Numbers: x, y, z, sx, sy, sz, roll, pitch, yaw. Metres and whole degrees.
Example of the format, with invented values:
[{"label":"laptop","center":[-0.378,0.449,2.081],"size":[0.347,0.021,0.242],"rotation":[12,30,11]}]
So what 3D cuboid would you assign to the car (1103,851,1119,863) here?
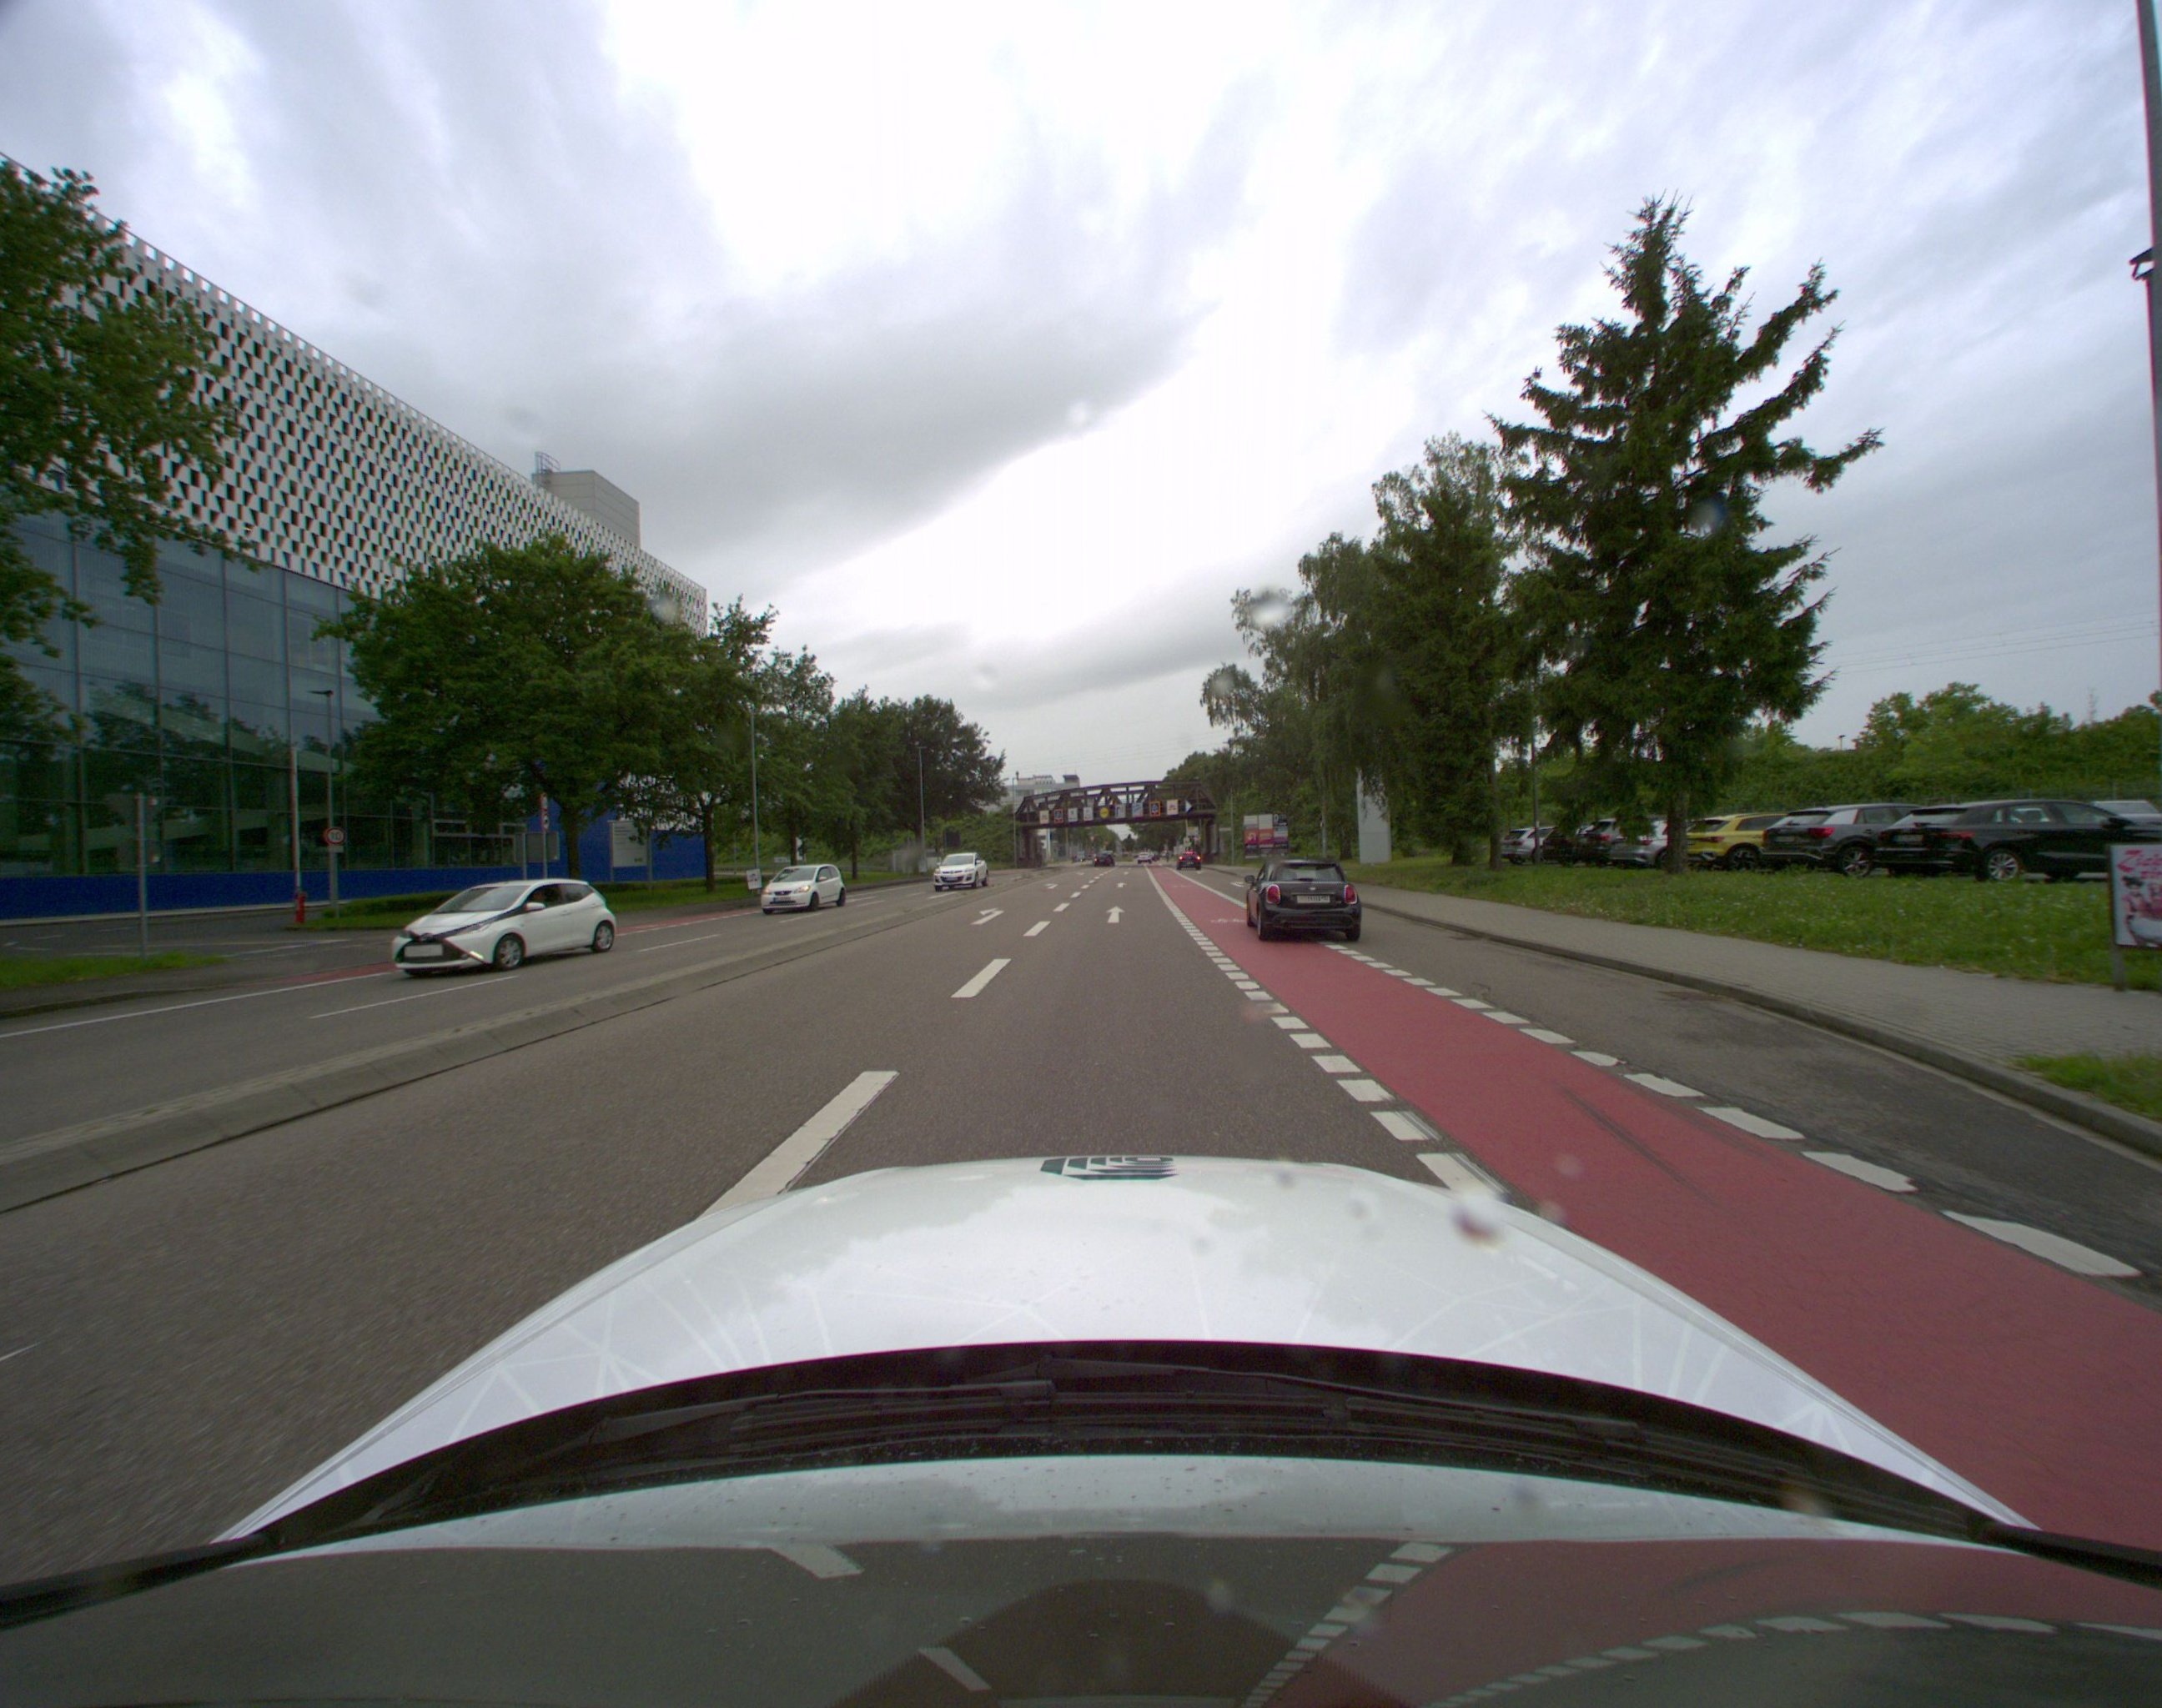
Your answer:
[{"label":"car","center":[3.954,0.329,108.542],"size":[1.955,1.527,5.010],"rotation":[-1,0,0]}]

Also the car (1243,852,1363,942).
[{"label":"car","center":[3.995,0.703,15.179],"size":[1.670,1.431,3.782],"rotation":[-1,0,8]}]

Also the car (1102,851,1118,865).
[{"label":"car","center":[3.533,0.497,99.241],"size":[1.767,1.652,3.670],"rotation":[-1,0,1]}]

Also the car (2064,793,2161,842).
[{"label":"car","center":[39.088,-1.328,30.530],"size":[1.944,1.652,4.339],"rotation":[1,0,38]}]

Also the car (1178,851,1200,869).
[{"label":"car","center":[8.289,0.455,62.813],"size":[1.639,1.281,3.426],"rotation":[-1,0,7]}]

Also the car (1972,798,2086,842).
[{"label":"car","center":[37.426,-1.283,32.304],"size":[1.880,1.566,4.705],"rotation":[1,0,36]}]

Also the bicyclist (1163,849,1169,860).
[{"label":"bicyclist","center":[12.763,0.111,122.543],"size":[0.813,1.630,1.236],"rotation":[-2,0,3]}]

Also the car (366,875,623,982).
[{"label":"car","center":[-9.848,1.170,14.068],"size":[1.617,1.423,3.614],"rotation":[-3,0,3]}]

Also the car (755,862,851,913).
[{"label":"car","center":[-8.954,1.041,26.529],"size":[1.669,1.428,3.654],"rotation":[-2,0,3]}]

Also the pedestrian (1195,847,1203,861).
[{"label":"pedestrian","center":[13.649,-0.018,94.238],"size":[0.737,1.640,0.781],"rotation":[-2,0,11]}]

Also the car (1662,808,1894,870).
[{"label":"car","center":[16.711,-0.366,19.701],"size":[3.975,1.379,1.813],"rotation":[1,0,5]}]

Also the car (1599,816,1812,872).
[{"label":"car","center":[16.844,-0.268,22.151],"size":[4.278,1.382,1.904],"rotation":[1,0,4]}]

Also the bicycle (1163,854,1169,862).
[{"label":"bicycle","center":[12.785,0.594,122.538],"size":[0.813,1.212,2.686],"rotation":[-2,0,4]}]

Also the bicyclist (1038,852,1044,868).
[{"label":"bicyclist","center":[-4.928,0.734,100.486],"size":[0.699,1.874,1.021],"rotation":[0,-1,4]}]

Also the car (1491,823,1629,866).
[{"label":"car","center":[18.287,-0.360,31.206],"size":[4.286,1.489,1.738],"rotation":[-1,0,-2]}]

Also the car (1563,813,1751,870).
[{"label":"car","center":[17.365,-0.379,24.750],"size":[4.278,1.601,1.972],"rotation":[1,0,4]}]

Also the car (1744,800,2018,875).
[{"label":"car","center":[16.421,-0.329,16.900],"size":[3.736,1.423,1.954],"rotation":[1,0,2]}]

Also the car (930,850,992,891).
[{"label":"car","center":[-5.409,0.701,37.299],"size":[1.810,1.587,4.517],"rotation":[-4,0,3]}]

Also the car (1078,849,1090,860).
[{"label":"car","center":[0.854,0.121,207.724],"size":[2.316,2.826,5.960],"rotation":[-2,0,7]}]

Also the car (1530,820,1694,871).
[{"label":"car","center":[17.855,-0.290,27.535],"size":[4.282,1.601,1.970],"rotation":[1,0,1]}]

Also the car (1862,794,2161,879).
[{"label":"car","center":[16.584,-0.291,14.220],"size":[3.974,1.353,1.904],"rotation":[1,0,4]}]

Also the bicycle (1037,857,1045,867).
[{"label":"bicycle","center":[-4.933,0.997,100.445],"size":[0.710,1.187,2.373],"rotation":[0,-1,4]}]

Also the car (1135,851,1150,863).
[{"label":"car","center":[8.449,0.384,112.796],"size":[1.817,1.600,3.776],"rotation":[-1,0,1]}]

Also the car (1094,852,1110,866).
[{"label":"car","center":[2.380,0.570,92.216],"size":[1.762,1.527,3.670],"rotation":[-1,0,1]}]
